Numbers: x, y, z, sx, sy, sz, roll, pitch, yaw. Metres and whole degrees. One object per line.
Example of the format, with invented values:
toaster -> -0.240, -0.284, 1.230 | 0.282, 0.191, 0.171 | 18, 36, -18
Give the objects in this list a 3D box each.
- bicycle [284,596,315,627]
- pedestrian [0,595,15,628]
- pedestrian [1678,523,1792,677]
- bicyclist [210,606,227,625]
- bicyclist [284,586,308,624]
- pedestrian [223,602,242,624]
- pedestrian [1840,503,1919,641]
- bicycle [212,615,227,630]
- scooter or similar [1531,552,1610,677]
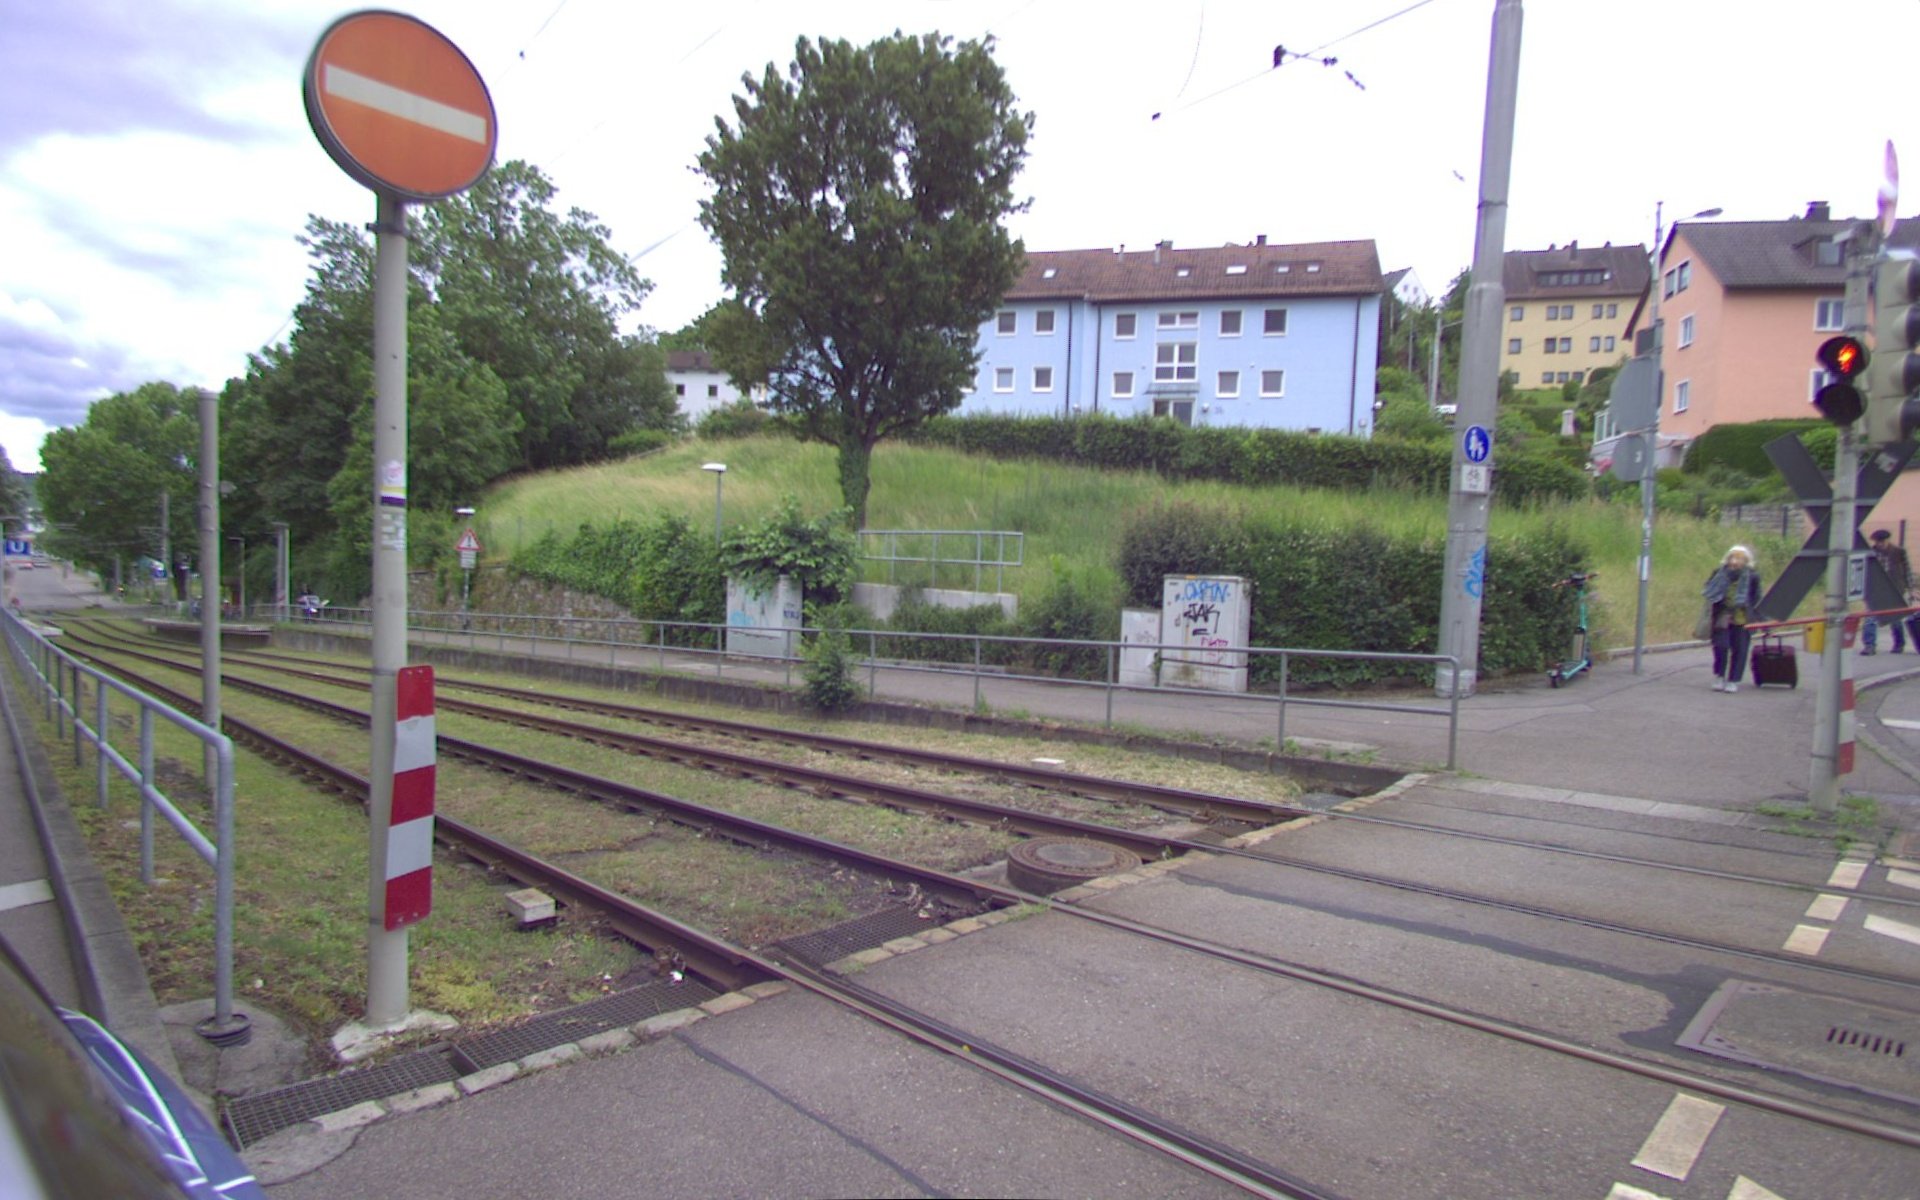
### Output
bicycle -> -28.913, 0.517, 44.299 | 0.741, 1.249, 2.871 | -3, 0, -41
pedestrian -> -45.325, 0.551, 47.959 | 0.728, 1.514, 0.627 | -2, 0, -44
pedestrian -> 8.407, -0.010, 10.985 | 0.740, 1.586, 0.759 | -2, 1, -31
bicyclist -> -42.730, 0.910, 58.321 | 0.681, 1.061, 0.745 | -2, -1, -45
bicyclist -> -29.377, 0.220, 44.800 | 0.696, 1.640, 1.034 | -3, 0, -41
pedestrian -> -46.743, 0.840, 65.053 | 0.773, 1.385, 0.812 | 0, 1, 40
pedestrian -> 12.442, -0.372, 13.553 | 0.887, 1.763, 0.745 | -2, 1, -31
bicycle -> -42.635, 1.301, 58.252 | 0.444, 0.787, 1.566 | -2, -1, -44
scooter or similar -> 7.093, 0.138, 11.728 | 1.393, 1.298, 0.419 | -7, 5, -44
